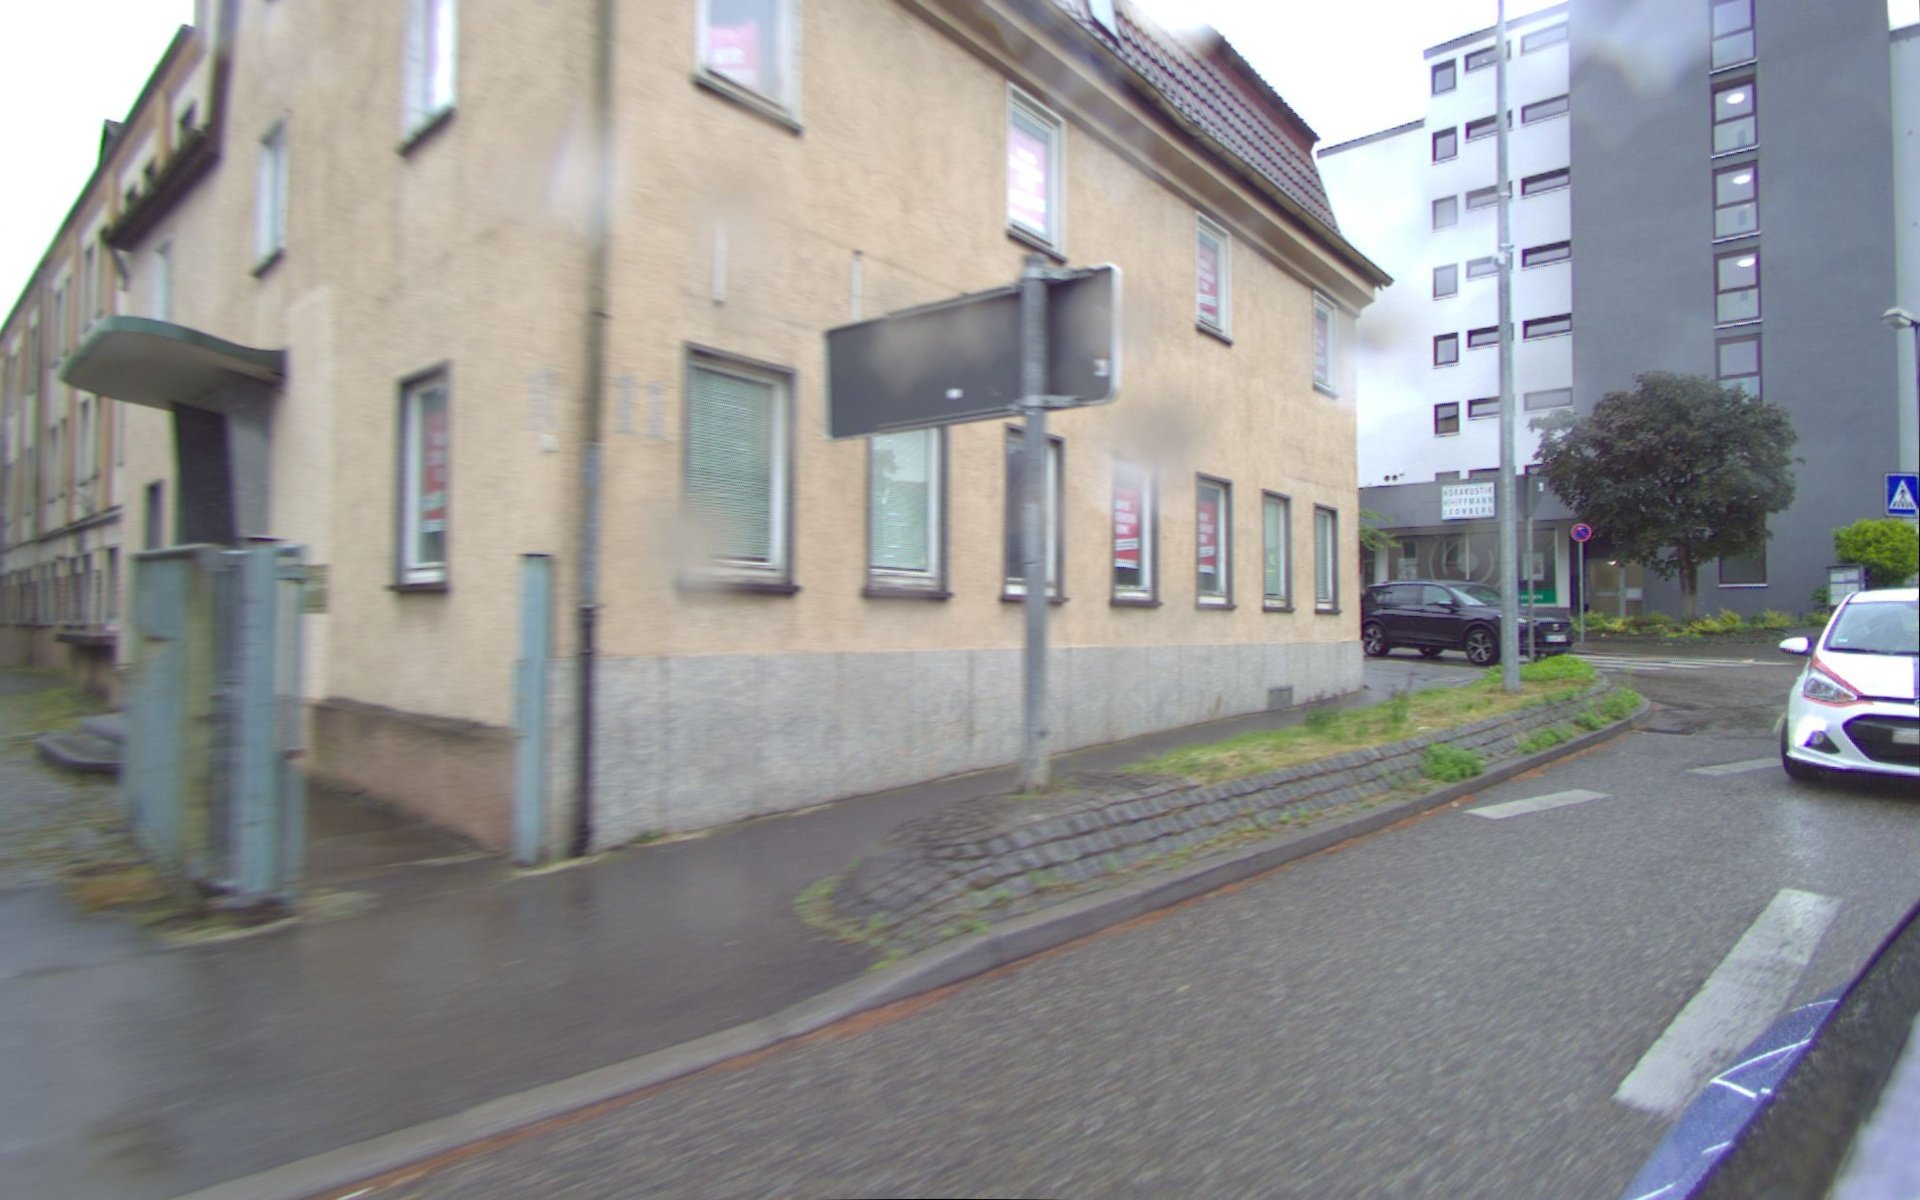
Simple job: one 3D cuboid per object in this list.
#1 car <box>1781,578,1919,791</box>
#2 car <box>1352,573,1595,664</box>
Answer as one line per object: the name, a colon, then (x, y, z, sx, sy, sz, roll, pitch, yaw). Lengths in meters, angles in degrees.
car: (8.039, 0.567, 8.203, 3.701, 1.471, 1.708, -1, 0, -44)
car: (10.253, 0.270, 20.616, 1.683, 1.592, 4.429, -2, 2, -21)
